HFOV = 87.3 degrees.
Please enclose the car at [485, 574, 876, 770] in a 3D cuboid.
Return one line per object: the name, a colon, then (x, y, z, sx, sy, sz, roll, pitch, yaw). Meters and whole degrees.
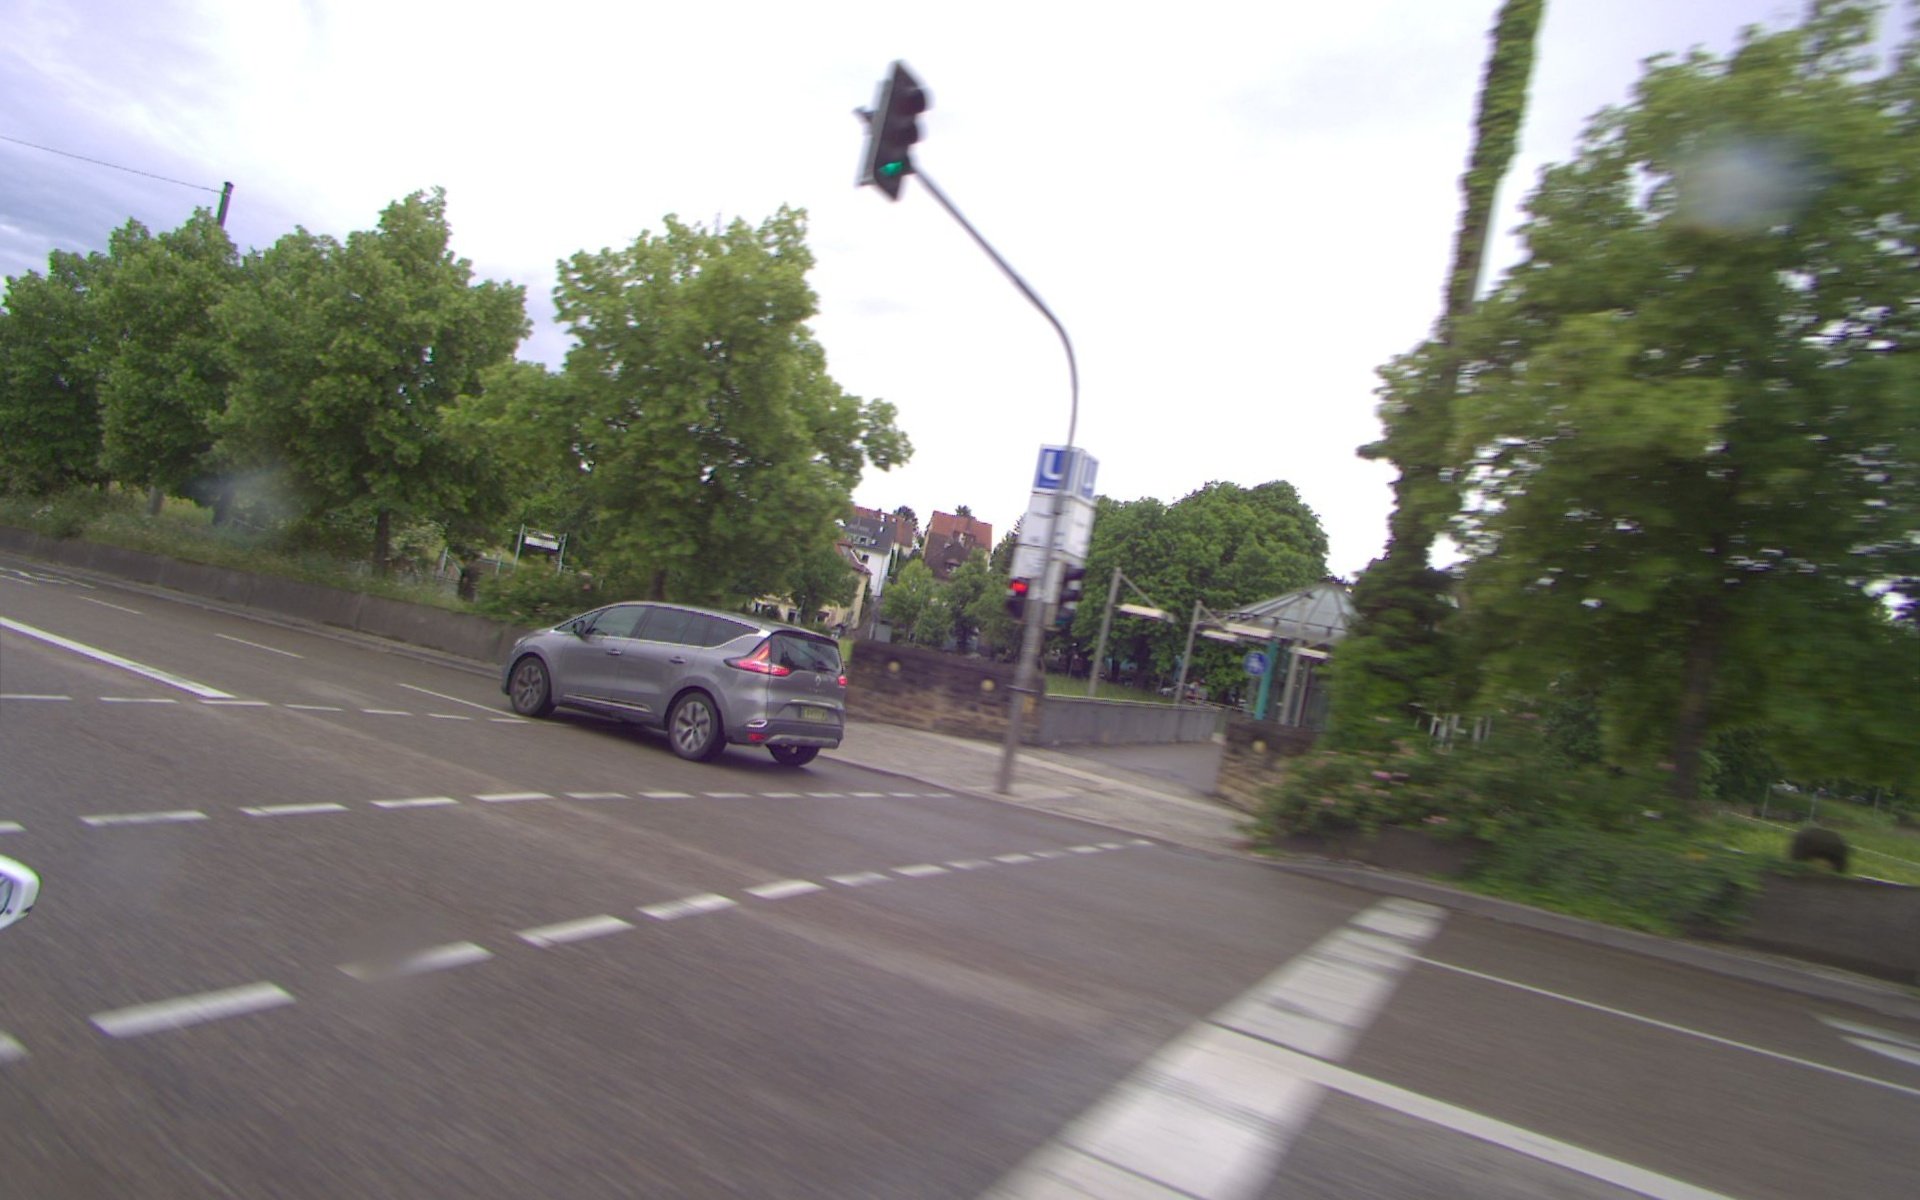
car: (-3.456, 0.819, 12.149, 4.549, 1.665, 1.732, 6, -6, 32)
